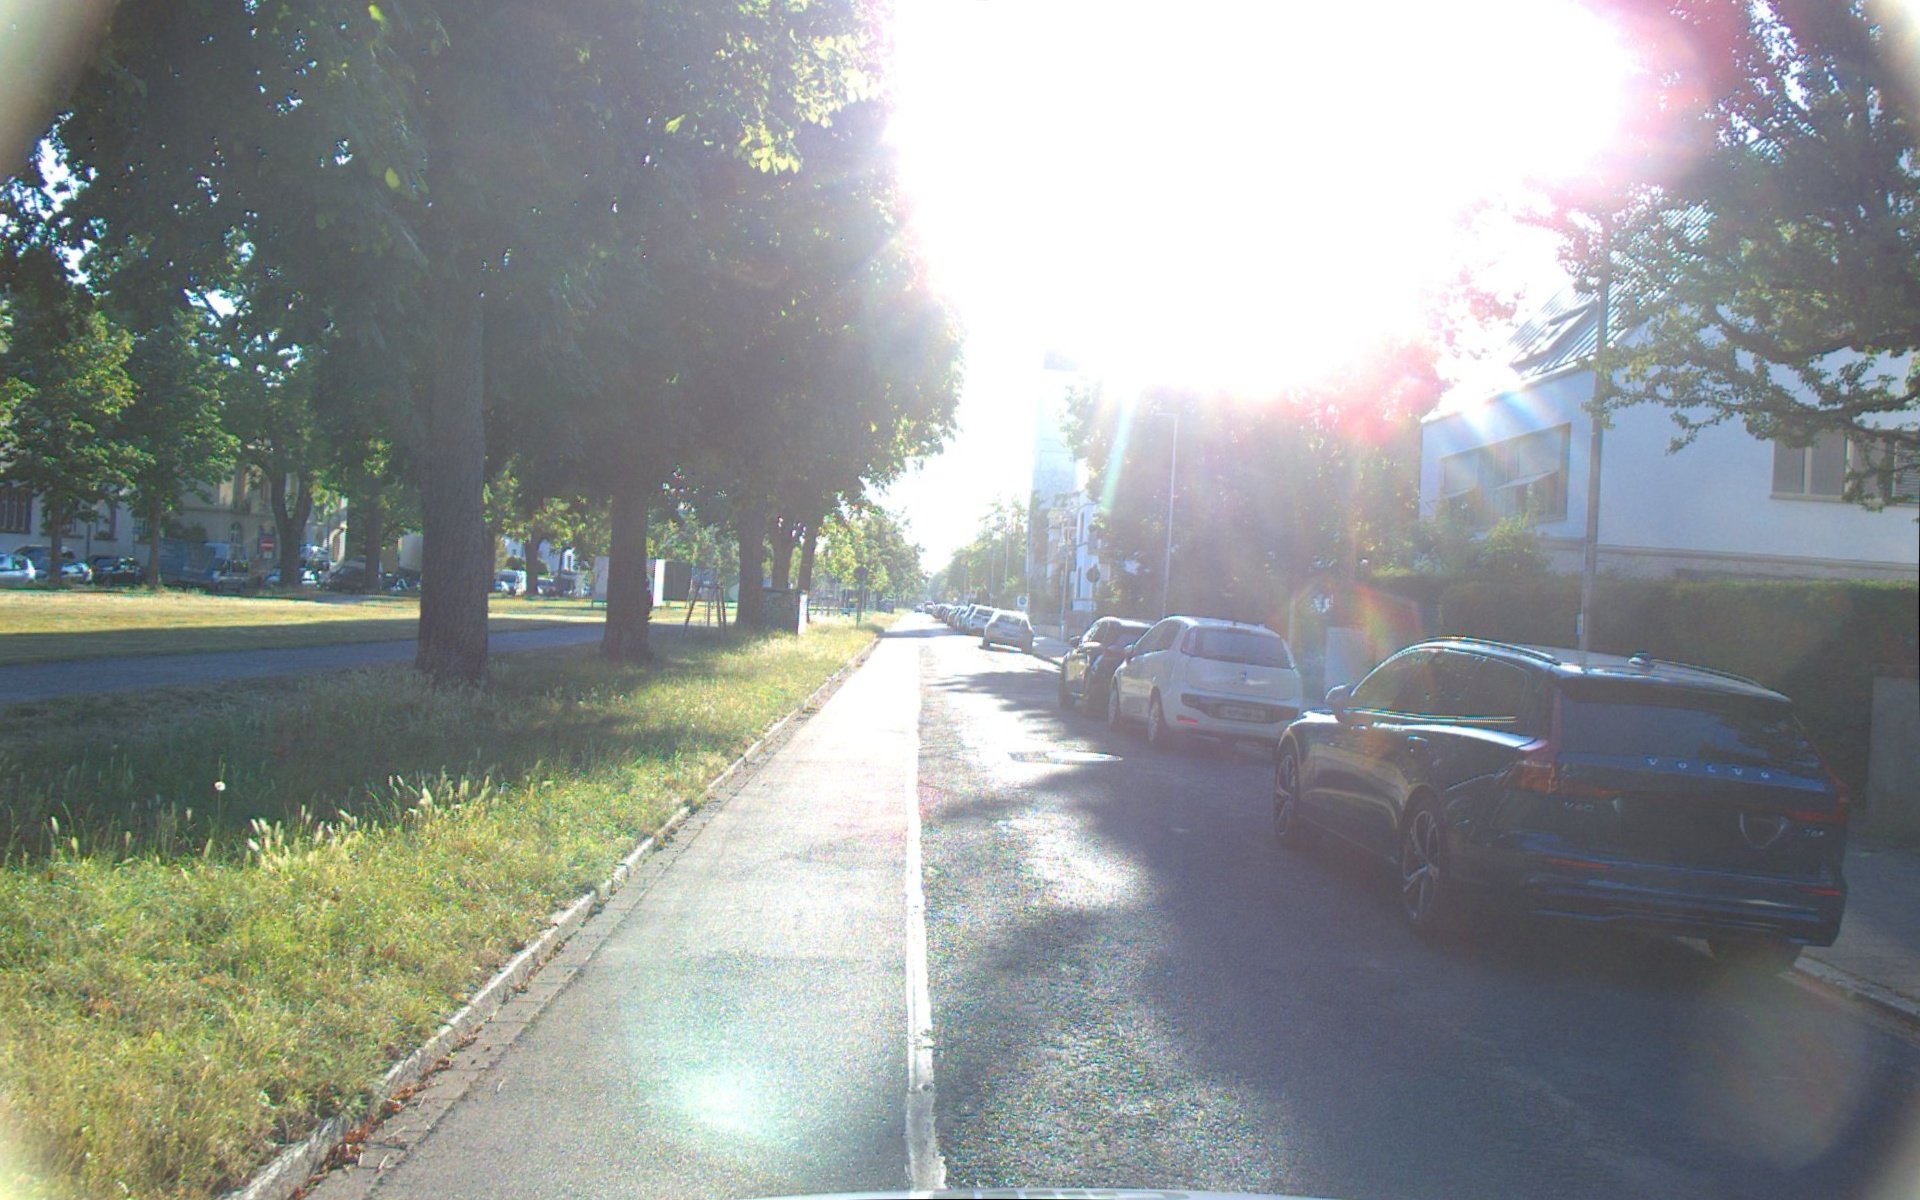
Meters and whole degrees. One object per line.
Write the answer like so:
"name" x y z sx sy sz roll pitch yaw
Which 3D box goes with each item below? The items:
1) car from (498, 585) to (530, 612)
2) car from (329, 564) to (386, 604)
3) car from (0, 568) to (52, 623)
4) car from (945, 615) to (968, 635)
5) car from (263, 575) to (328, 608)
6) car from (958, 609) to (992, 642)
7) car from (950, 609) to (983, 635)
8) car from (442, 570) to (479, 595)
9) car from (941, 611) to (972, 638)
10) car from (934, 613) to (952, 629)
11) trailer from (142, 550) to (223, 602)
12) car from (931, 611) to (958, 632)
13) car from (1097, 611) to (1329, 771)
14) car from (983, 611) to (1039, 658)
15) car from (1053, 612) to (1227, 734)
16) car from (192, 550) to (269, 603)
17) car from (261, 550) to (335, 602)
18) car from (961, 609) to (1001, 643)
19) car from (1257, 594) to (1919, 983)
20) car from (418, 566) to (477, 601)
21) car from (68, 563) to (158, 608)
"car" -43.015 -0.154 159.655 1.953 2.452 4.361 1 -1 -1
"car" -35.577 -0.915 97.768 1.651 2.213 4.313 4 0 -1
"car" -34.382 -0.199 58.618 1.953 1.893 4.254 4 -1 0
"car" -0.335 2.325 152.487 1.953 1.658 3.999 3 -1 0
"car" -35.061 -0.438 87.383 1.650 1.587 4.313 3 -1 -1
"car" 0.791 1.368 91.007 1.651 1.679 4.098 4 0 -2
"car" 0.379 1.340 100.401 1.726 1.445 3.997 3 -1 -3
"car" -42.485 -1.495 140.762 1.953 2.048 4.484 0 1 -2
"car" -0.247 1.558 105.256 1.723 1.633 4.356 3 -1 -3
"car" -1.946 2.375 186.864 1.940 1.712 3.999 3 -1 0
"trailer" -40.818 -1.242 86.937 1.953 2.470 4.722 3 -1 -1
"car" -1.194 1.654 126.402 1.953 1.489 3.999 3 -1 0
"car" 2.866 0.990 19.574 1.659 1.508 3.924 7 -1 -5
"car" 1.861 1.277 61.799 1.723 1.443 4.071 9 -1 -1
"car" 2.565 1.010 24.576 1.715 1.502 4.284 5 -1 -4
"car" -40.979 -1.303 93.011 1.953 2.719 5.185 3 -1 -1
"car" -41.448 -1.465 103.703 2.388 2.973 5.815 1 -1 -2
"car" 1.072 1.333 85.119 1.723 1.633 4.356 3 -1 -3
"car" 3.084 0.840 9.279 1.757 1.518 4.672 4 -1 -2
"car" -35.988 -1.158 116.271 2.483 2.275 5.457 3 0 -1
"car" -40.899 -0.658 80.011 1.954 1.987 4.748 3 -1 -3
